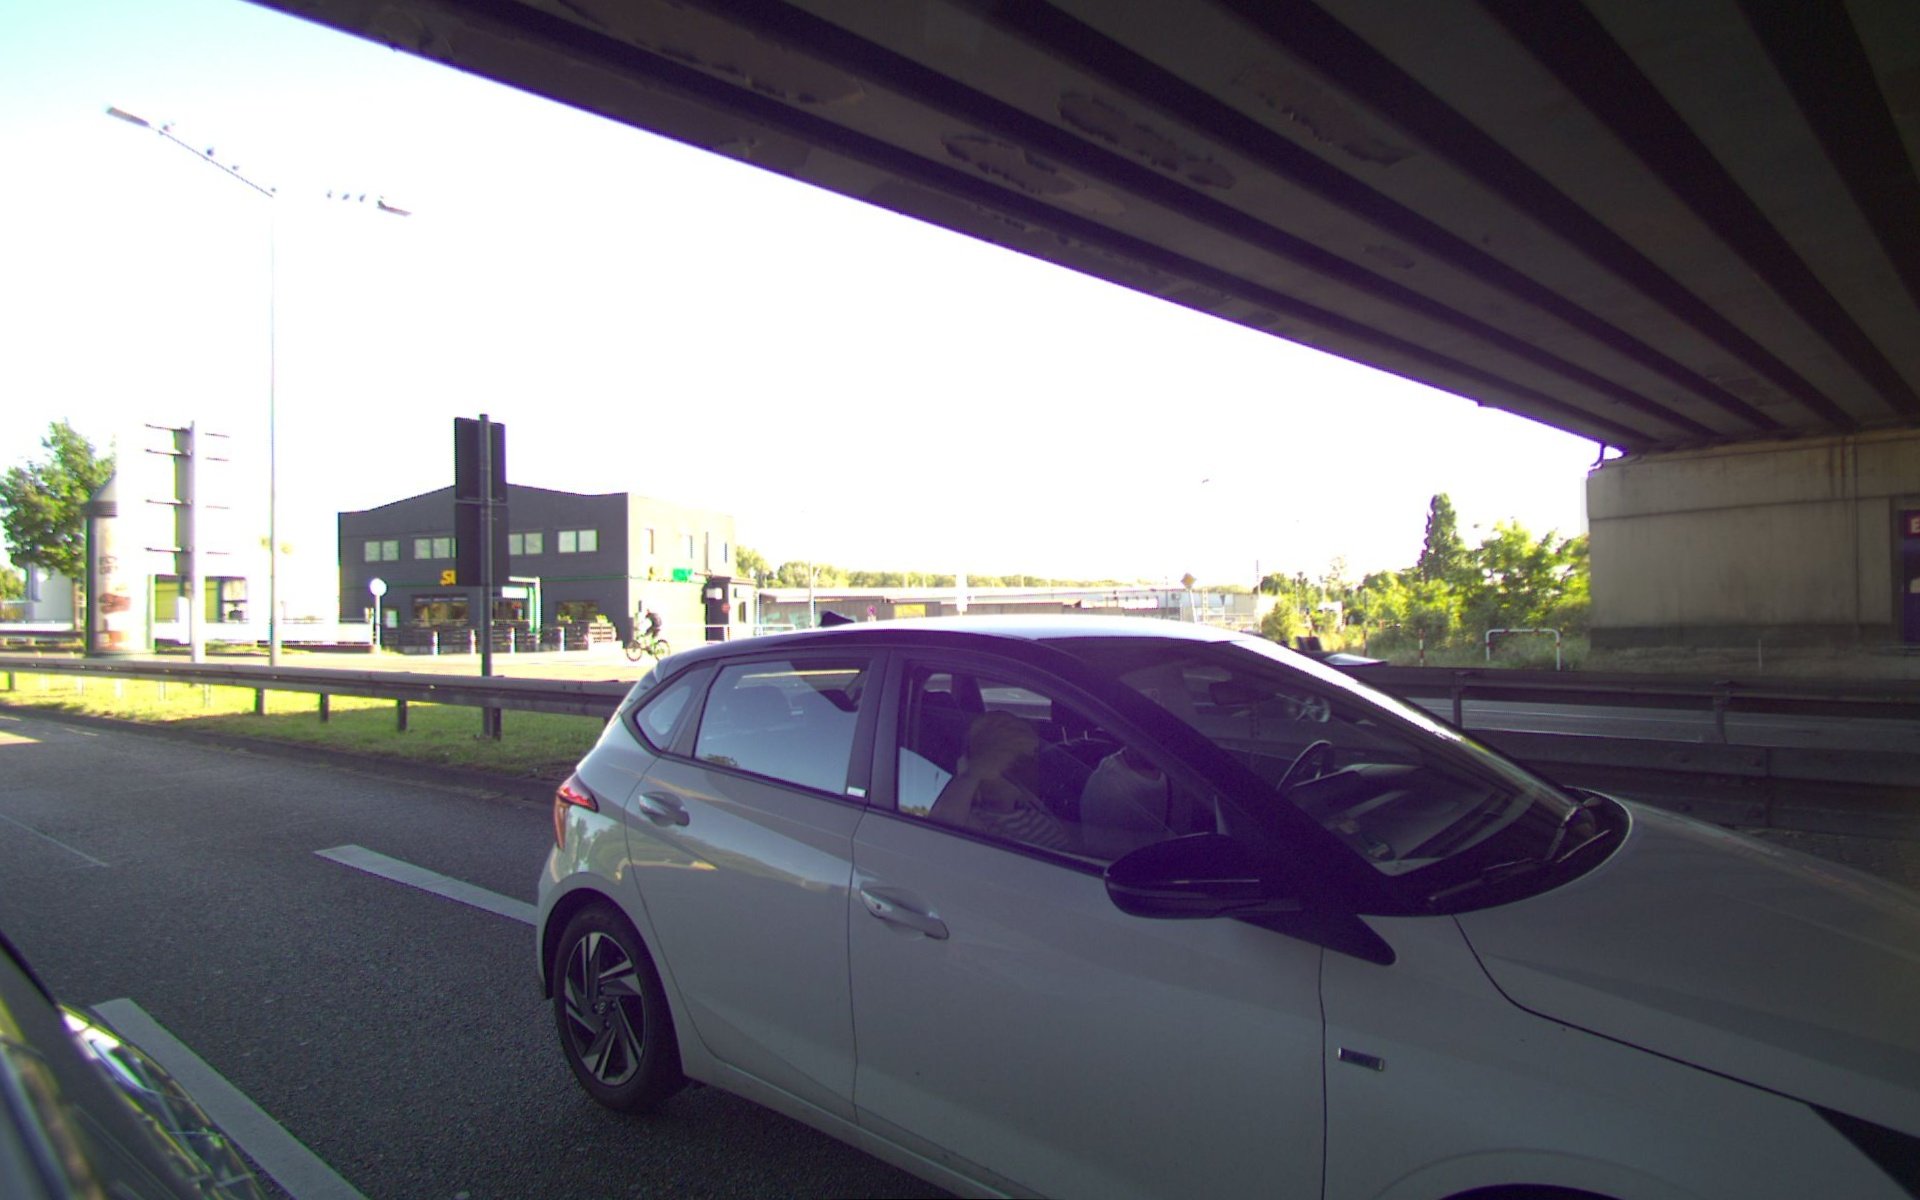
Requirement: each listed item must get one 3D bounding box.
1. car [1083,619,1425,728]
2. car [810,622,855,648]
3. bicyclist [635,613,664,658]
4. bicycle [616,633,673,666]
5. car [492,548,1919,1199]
[{"bbox_3d":[3.942,0.960,13.889,4.174,1.291,1.726,-2,-4,36],"label":"car"},{"bbox_3d":[-6.890,1.921,54.965,1.806,1.291,4.180,1,-3,1],"label":"car"},{"bbox_3d":[-10.091,1.143,32.935,0.701,1.438,0.591,-1,0,13],"label":"bicyclist"},{"bbox_3d":[-10.280,1.606,32.974,1.733,1.031,0.591,-1,0,13],"label":"bicycle"},{"bbox_3d":[0.547,0.717,2.673,3.987,1.491,1.716,-1,-1,40],"label":"car"}]
